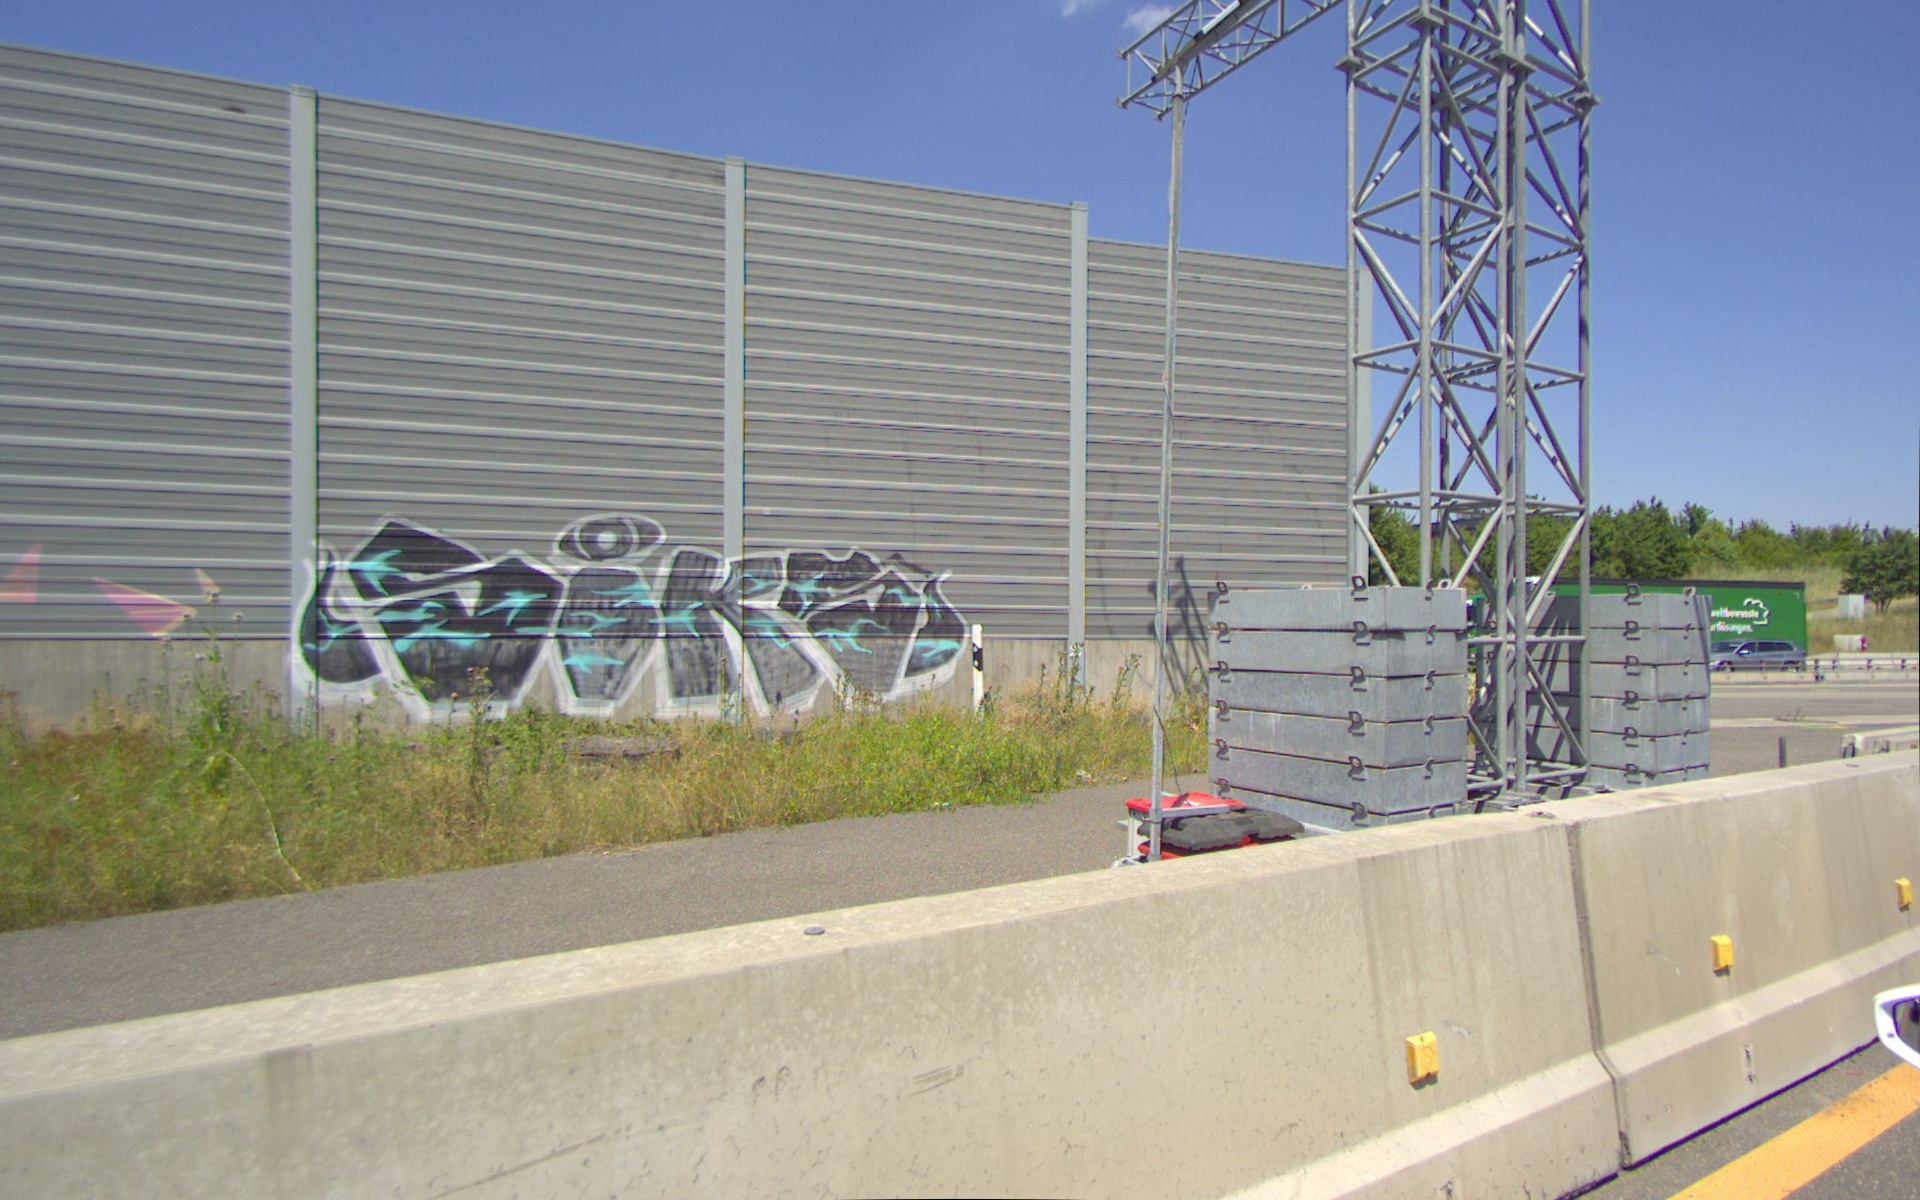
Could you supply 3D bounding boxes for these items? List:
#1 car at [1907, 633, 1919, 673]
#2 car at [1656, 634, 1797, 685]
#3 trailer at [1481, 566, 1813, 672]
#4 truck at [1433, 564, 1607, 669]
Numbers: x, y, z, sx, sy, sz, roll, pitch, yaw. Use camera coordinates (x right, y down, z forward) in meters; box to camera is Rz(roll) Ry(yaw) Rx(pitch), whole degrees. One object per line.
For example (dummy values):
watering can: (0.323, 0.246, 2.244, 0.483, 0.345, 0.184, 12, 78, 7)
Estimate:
car: (41.867, 2.231, 41.688, 4.097, 1.645, 1.717, 1, 0, -12)
car: (27.248, 2.103, 35.737, 4.097, 1.645, 1.717, 1, 0, -12)
trailer: (30.983, 0.887, 45.479, 13.655, 4.327, 3.552, 1, 0, -9)
truck: (24.702, 0.713, 44.480, 5.674, 4.327, 3.552, 1, 0, -9)
